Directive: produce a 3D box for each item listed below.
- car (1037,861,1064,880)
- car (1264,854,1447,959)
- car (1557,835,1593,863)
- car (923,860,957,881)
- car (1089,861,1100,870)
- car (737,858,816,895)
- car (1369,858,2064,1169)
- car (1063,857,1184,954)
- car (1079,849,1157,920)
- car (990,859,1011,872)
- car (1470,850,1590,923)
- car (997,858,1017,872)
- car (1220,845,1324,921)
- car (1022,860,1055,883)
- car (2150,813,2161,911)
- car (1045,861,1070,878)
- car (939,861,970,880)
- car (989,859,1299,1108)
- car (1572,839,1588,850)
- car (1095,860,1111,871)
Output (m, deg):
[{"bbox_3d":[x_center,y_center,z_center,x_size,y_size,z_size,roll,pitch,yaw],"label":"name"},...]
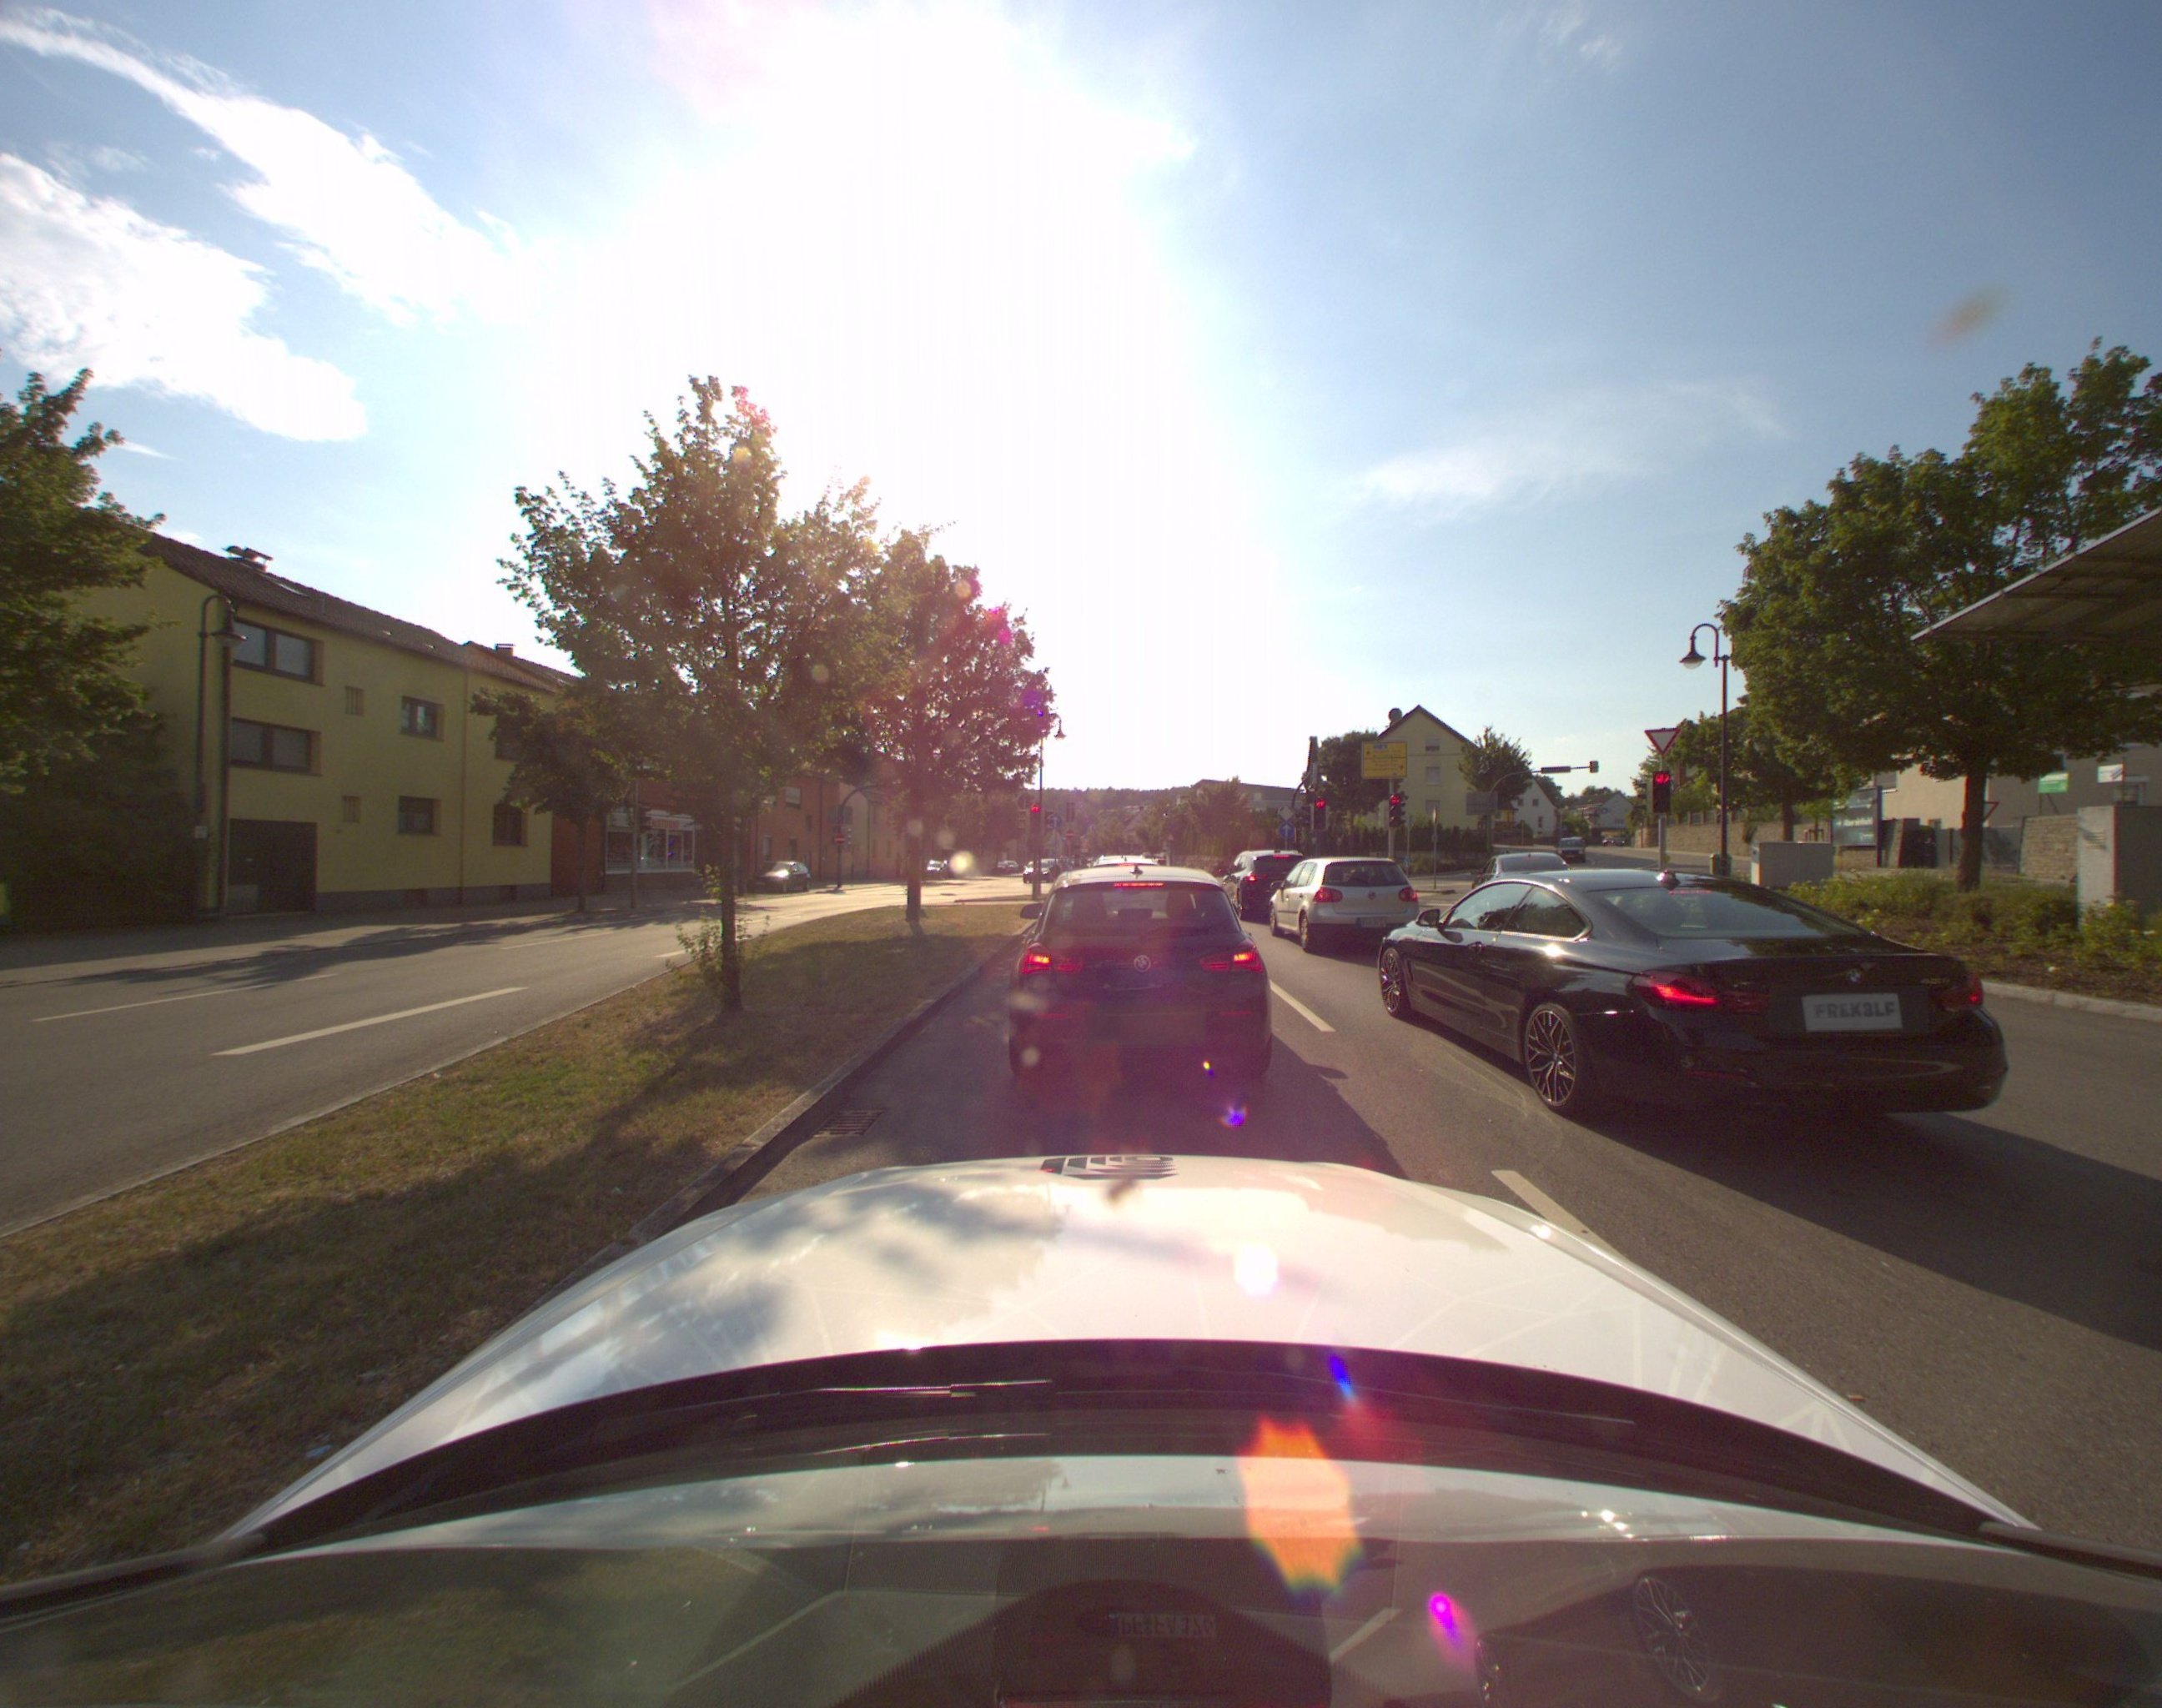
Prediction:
[{"bbox_3d":[-2.291,1.238,62.438,1.685,1.353,4.004,0,0,4],"label":"car"},{"bbox_3d":[4.310,0.740,13.543,1.808,1.446,4.351,-1,0,3],"label":"car"},{"bbox_3d":[32.695,-0.362,53.892,1.768,1.507,4.097,-3,2,34],"label":"car"},{"bbox_3d":[-11.658,1.351,67.642,1.916,1.596,4.004,0,0,4],"label":"car"},{"bbox_3d":[2.652,2.254,158.310,1.917,1.596,4.002,0,0,2],"label":"car"},{"bbox_3d":[-14.125,0.990,38.041,1.834,1.552,4.005,2,0,5],"label":"car"},{"bbox_3d":[3.642,0.735,5.879,1.808,1.388,4.351,-1,0,3],"label":"car"},{"bbox_3d":[0.767,0.783,14.413,1.808,1.451,4.245,-1,0,3],"label":"car"},{"bbox_3d":[0.998,0.727,21.135,1.808,1.641,4.245,-1,0,3],"label":"car"},{"bbox_3d":[-9.611,1.367,97.719,1.916,1.596,4.004,0,0,4],"label":"car"},{"bbox_3d":[9.918,0.636,18.324,1.667,1.435,4.612,-1,0,20],"label":"car"},{"bbox_3d":[-9.304,1.375,103.220,1.916,1.596,4.004,0,0,4],"label":"car"},{"bbox_3d":[4.607,0.654,20.244,1.808,1.666,4.351,-1,0,3],"label":"car"},{"bbox_3d":[-2.841,1.134,55.110,1.759,1.458,4.004,0,0,4],"label":"car"},{"bbox_3d":[19.523,0.116,12.207,3.958,1.608,1.861,0,0,14],"label":"car"},{"bbox_3d":[-1.975,1.328,69.435,1.685,1.353,4.004,0,0,4],"label":"car"},{"bbox_3d":[-11.381,1.471,73.262,1.916,1.596,4.004,0,0,4],"label":"car"},{"bbox_3d":[0.489,0.766,6.895,1.783,1.414,4.351,-1,0,3],"label":"car"},{"bbox_3d":[67.324,-1.274,109.889,1.694,1.244,4.027,0,4,34],"label":"car"},{"bbox_3d":[3.314,1.724,122.929,1.887,1.702,4.518,-2,0,-4],"label":"car"}]
